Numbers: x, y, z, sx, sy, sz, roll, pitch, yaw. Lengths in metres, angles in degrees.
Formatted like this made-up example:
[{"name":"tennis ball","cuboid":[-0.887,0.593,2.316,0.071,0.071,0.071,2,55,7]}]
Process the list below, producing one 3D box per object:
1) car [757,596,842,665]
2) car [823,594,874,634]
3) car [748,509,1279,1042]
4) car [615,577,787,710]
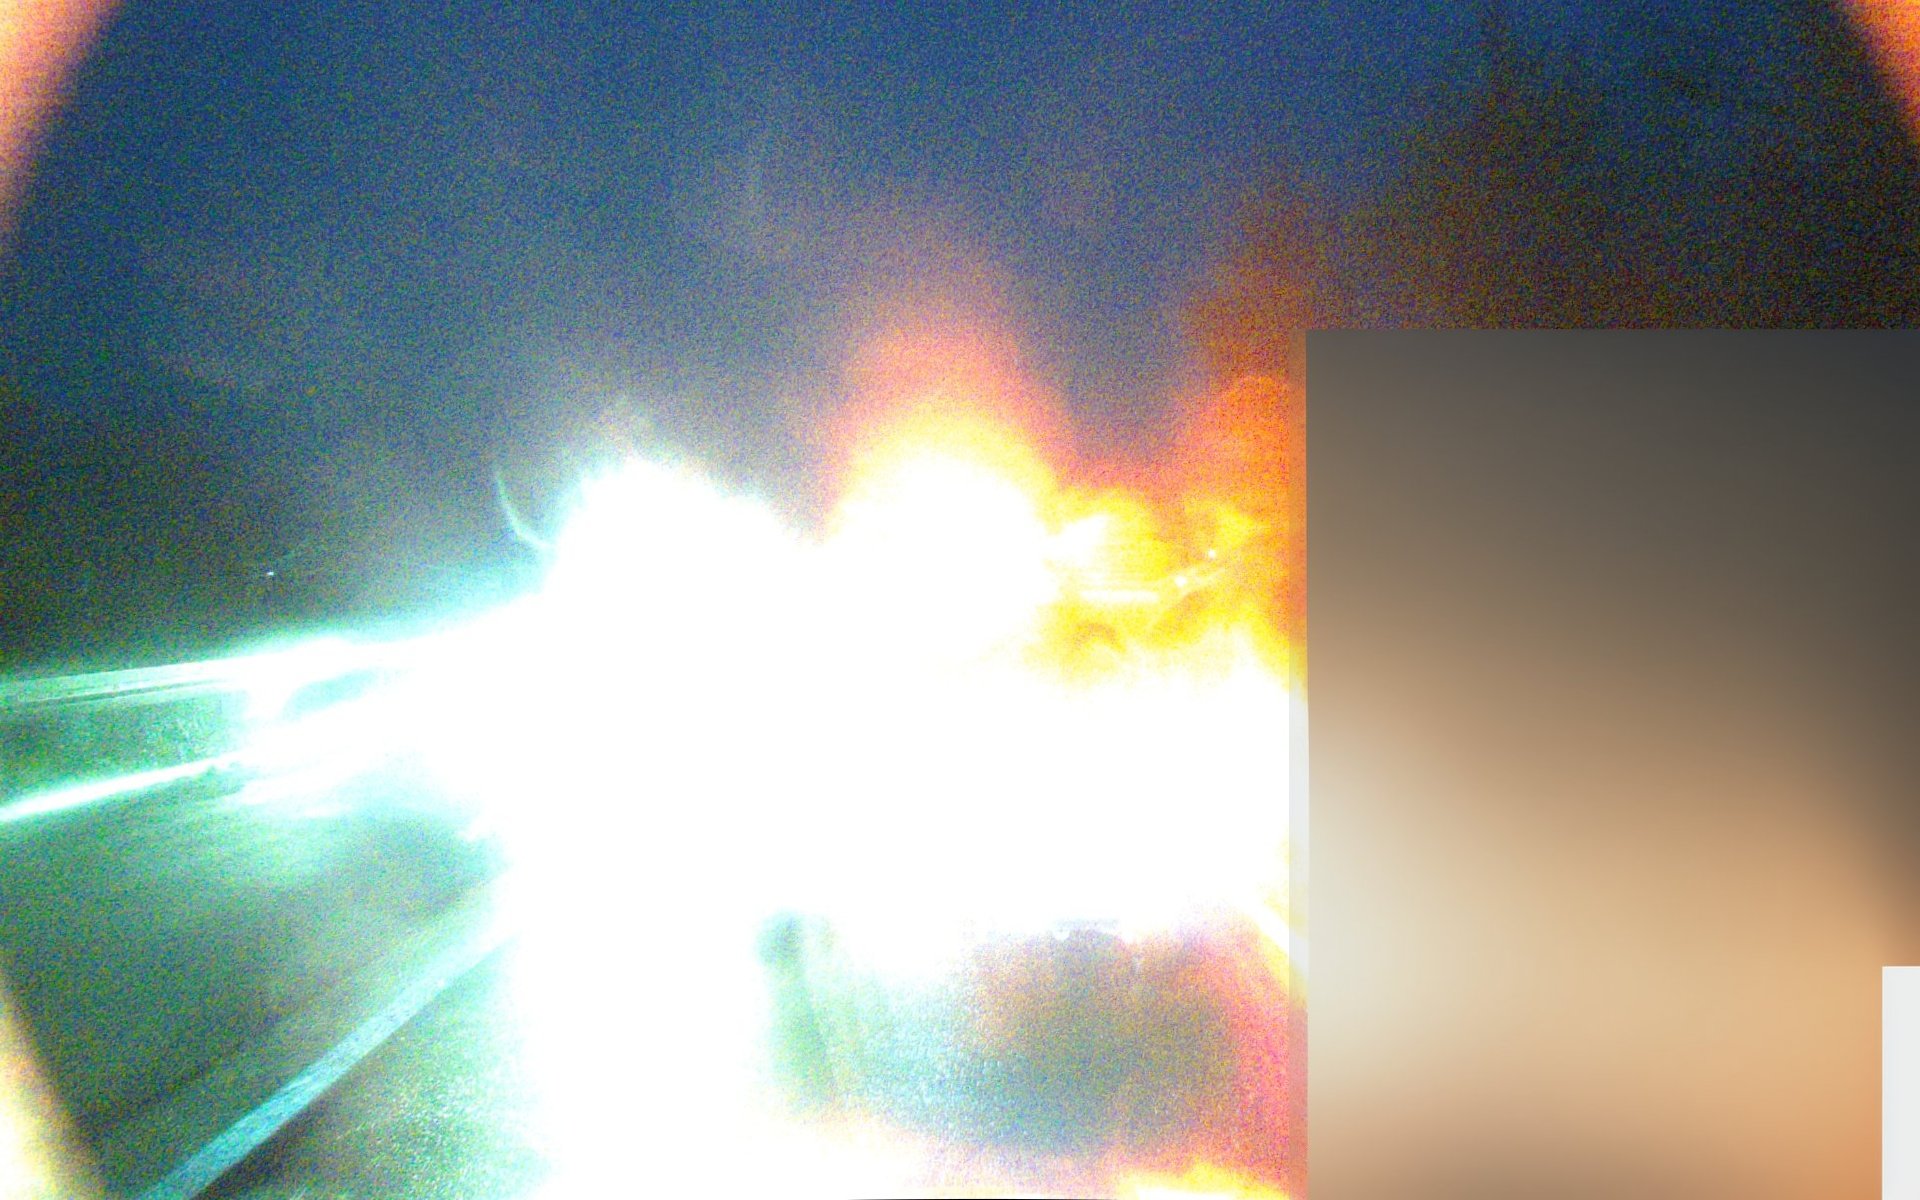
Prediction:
[{"name":"car","cuboid":[-3.974,0.711,41.443,1.800,1.573,4.256,1,1,-2]},{"name":"car","cuboid":[-4.562,0.548,67.986,1.865,1.495,4.273,2,0,-2]},{"name":"car","cuboid":[0.169,0.583,7.479,1.739,1.742,4.000,1,0,0]},{"name":"car","cuboid":[-3.532,0.545,23.242,1.912,1.685,4.122,-1,0,-2]}]
